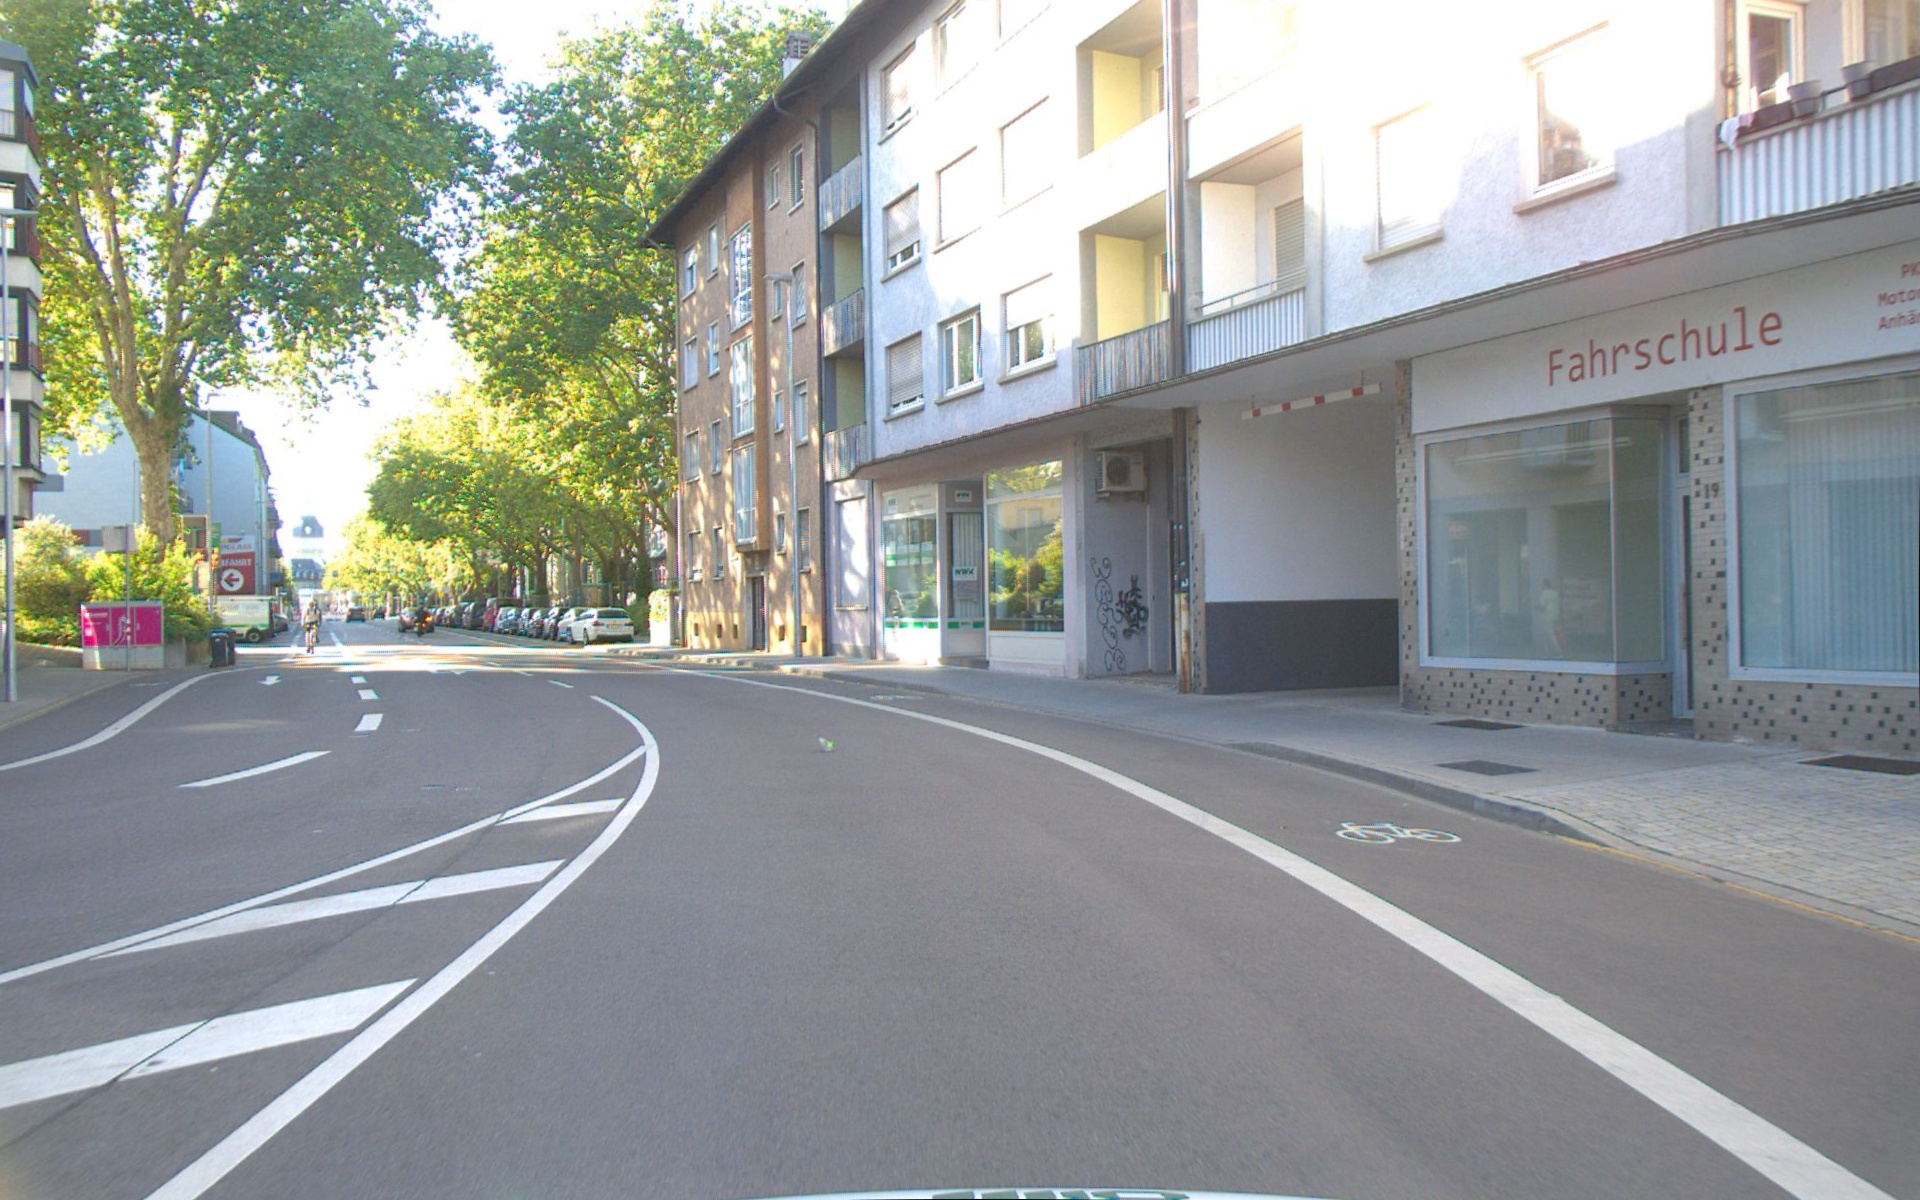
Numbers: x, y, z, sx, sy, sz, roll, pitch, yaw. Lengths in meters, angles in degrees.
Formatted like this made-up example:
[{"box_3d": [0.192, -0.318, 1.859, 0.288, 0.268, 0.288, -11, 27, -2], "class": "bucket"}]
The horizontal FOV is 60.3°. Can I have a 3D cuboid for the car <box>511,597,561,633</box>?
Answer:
[{"box_3d": [-22.268, 0.780, 86.785, 2.005, 1.749, 4.066, -2, 0, -22], "class": "car"}]

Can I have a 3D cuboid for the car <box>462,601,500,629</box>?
[{"box_3d": [-31.661, 0.991, 109.229, 2.005, 1.772, 4.066, -1, 0, -22], "class": "car"}]

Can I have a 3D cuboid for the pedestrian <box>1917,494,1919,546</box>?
[{"box_3d": [6.395, 0.263, 9.786, 0.721, 1.886, 0.941, -4, 0, -23], "class": "pedestrian"}]

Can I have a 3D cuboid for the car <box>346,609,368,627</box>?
[{"box_3d": [-64.133, 1.906, 175.774, 2.005, 1.772, 4.066, -2, 0, -22], "class": "car"}]

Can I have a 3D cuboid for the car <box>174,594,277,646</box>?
[{"box_3d": [-33.822, 0.912, 76.209, 4.248, 2.264, 1.984, -2, 0, -25], "class": "car"}]

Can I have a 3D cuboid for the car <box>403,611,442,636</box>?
[{"box_3d": [-31.346, 1.355, 96.387, 1.896, 1.413, 3.974, -1, 0, -22], "class": "car"}]

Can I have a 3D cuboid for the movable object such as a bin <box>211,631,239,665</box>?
[{"box_3d": [-21.752, 1.426, 48.957, 0.693, 0.982, 0.592, 1, 0, -22], "class": "movable object such as a bin"}]

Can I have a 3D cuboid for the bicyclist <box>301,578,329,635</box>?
[{"box_3d": [-22.672, 0.220, 58.135, 0.806, 1.982, 0.850, -1, 0, -26], "class": "bicyclist"}]

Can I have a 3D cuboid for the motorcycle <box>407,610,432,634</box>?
[{"box_3d": [-26.897, 1.065, 82.278, 0.960, 1.151, 2.785, 0, 0, -22], "class": "motorcycle"}]

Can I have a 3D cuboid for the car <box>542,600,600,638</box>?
[{"box_3d": [-17.829, 0.851, 75.677, 2.005, 1.645, 4.066, -2, 0, -22], "class": "car"}]

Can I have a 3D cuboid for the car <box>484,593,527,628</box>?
[{"box_3d": [-27.221, 0.622, 98.918, 2.005, 1.968, 4.066, -1, 0, -22], "class": "car"}]

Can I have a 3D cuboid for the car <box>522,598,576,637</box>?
[{"box_3d": [-20.185, 0.850, 81.046, 2.005, 1.790, 4.066, -2, 0, -22], "class": "car"}]

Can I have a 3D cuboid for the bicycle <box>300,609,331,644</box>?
[{"box_3d": [-22.616, 0.919, 58.047, 0.805, 1.159, 2.319, -1, 0, -26], "class": "bicycle"}]

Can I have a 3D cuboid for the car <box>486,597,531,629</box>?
[{"box_3d": [-25.889, 0.726, 94.840, 2.005, 1.749, 4.066, -1, 0, -22], "class": "car"}]

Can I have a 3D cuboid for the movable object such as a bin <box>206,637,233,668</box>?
[{"box_3d": [-21.172, 1.498, 47.294, 0.676, 0.867, 0.575, 1, 0, -22], "class": "movable object such as a bin"}]

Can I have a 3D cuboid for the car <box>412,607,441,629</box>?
[{"box_3d": [-45.294, 1.534, 140.415, 2.005, 1.772, 4.066, -2, 0, -22], "class": "car"}]

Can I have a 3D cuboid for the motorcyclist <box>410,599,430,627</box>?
[{"box_3d": [-26.843, 0.636, 82.224, 0.955, 1.370, 1.132, 0, 0, -18], "class": "motorcyclist"}]

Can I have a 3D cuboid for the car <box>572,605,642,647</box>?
[{"box_3d": [-13.901, 0.999, 65.005, 2.005, 1.531, 4.066, -2, 0, -22], "class": "car"}]
